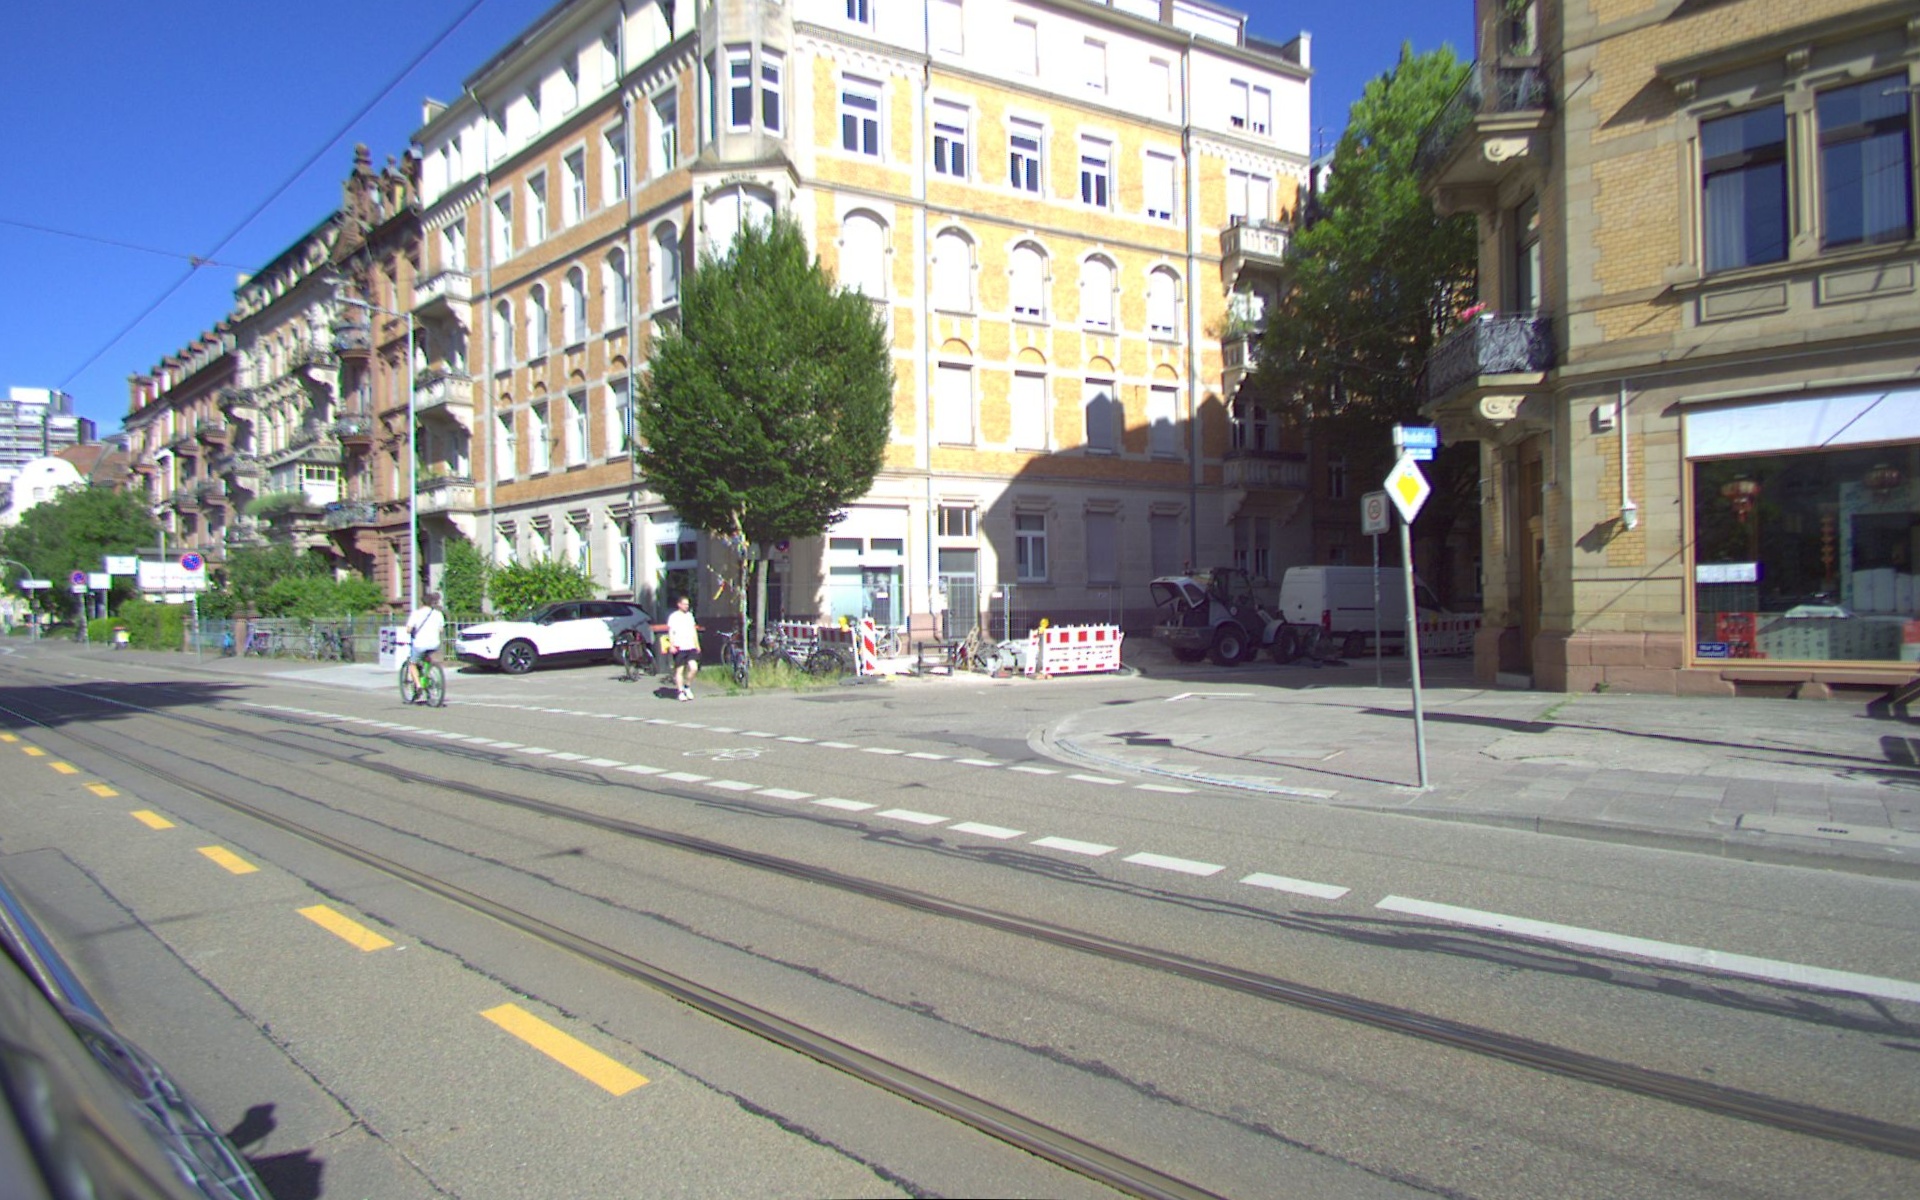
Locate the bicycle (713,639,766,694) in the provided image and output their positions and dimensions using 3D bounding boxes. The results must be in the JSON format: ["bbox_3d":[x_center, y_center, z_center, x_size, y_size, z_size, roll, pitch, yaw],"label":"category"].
[{"bbox_3d":[-4.070,1.221,18.788,0.613,0.921,1.293,0,1,5],"label":"bicycle"}]

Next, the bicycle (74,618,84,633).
[{"bbox_3d":[-56.271,1.621,64.611,0.338,0.933,1.944,-3,1,-45],"label":"bicycle"}]

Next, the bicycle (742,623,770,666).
[{"bbox_3d":[-4.809,1.029,23.922,0.244,0.921,1.541,0,1,5],"label":"bicycle"}]

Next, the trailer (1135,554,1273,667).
[{"bbox_3d":[6.193,0.268,25.727,2.878,2.715,1.834,1,-1,-26],"label":"trailer"}]

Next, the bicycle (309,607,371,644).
[{"bbox_3d":[-22.345,0.915,36.517,0.564,1.163,1.745,-2,3,40],"label":"bicycle"}]

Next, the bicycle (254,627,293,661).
[{"bbox_3d":[-22.057,1.404,32.509,1.766,1.041,0.557,-2,1,40],"label":"bicycle"}]

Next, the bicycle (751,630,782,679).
[{"bbox_3d":[-4.033,1.123,21.074,0.611,0.921,1.298,0,1,-11],"label":"bicycle"}]

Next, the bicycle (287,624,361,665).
[{"bbox_3d":[-18.046,1.258,28.734,1.745,1.041,0.564,-3,0,5],"label":"bicycle"}]

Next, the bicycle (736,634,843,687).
[{"bbox_3d":[-3.337,1.180,19.846,1.963,0.983,0.579,-1,1,6],"label":"bicycle"}]

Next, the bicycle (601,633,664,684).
[{"bbox_3d":[-6.807,1.193,21.109,0.613,0.921,1.786,0,1,5],"label":"bicycle"}]

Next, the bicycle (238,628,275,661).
[{"bbox_3d":[-23.517,1.488,33.815,1.766,1.041,0.557,-2,1,40],"label":"bicycle"}]

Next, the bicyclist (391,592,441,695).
[{"bbox_3d":[-8.808,0.698,16.383,0.744,1.631,0.459,-2,-3,41],"label":"bicyclist"}]

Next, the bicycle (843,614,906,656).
[{"bbox_3d":[-2.297,0.939,27.218,1.576,1.045,0.407,-2,-1,-25],"label":"bicycle"}]

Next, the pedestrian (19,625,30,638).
[{"bbox_3d":[-92.631,3.113,100.204,0.724,1.291,0.650,-2,1,41],"label":"pedestrian"}]

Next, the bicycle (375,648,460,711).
[{"bbox_3d":[-8.811,1.253,16.388,2.201,0.933,0.455,-2,-2,41],"label":"bicycle"}]

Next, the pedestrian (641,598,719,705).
[{"bbox_3d":[-4.764,0.841,17.211,1.083,1.736,0.820,0,2,45],"label":"pedestrian"}]

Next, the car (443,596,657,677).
[{"bbox_3d":[-9.878,0.811,24.624,1.967,1.656,4.397,-1,1,43],"label":"car"}]

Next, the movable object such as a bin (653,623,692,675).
[{"bbox_3d":[-6.269,1.063,22.076,0.569,1.079,0.718,-2,1,-36],"label":"movable object such as a bin"}]

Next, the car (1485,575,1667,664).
[{"bbox_3d":[14.018,0.445,23.032,3.529,1.763,1.845,-2,-2,-27],"label":"car"}]

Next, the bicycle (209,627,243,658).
[{"bbox_3d":[-26.341,1.523,36.315,1.767,1.041,0.557,-3,0,41],"label":"bicycle"}]

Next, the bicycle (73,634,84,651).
[{"bbox_3d":[-53.132,2.561,61.017,0.338,0.933,1.944,-3,1,-45],"label":"bicycle"}]

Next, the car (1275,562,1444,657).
[{"bbox_3d":[11.741,0.189,29.743,4.556,2.521,2.007,-2,3,-24],"label":"car"}]

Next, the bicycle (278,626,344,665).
[{"bbox_3d":[-19.189,1.351,29.925,1.752,1.041,0.562,-3,3,16],"label":"bicycle"}]

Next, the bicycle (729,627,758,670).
[{"bbox_3d":[-5.108,1.131,23.939,0.244,0.921,1.541,0,1,5],"label":"bicycle"}]

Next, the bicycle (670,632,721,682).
[{"bbox_3d":[-5.368,1.143,20.634,0.613,0.921,1.293,0,1,5],"label":"bicycle"}]
